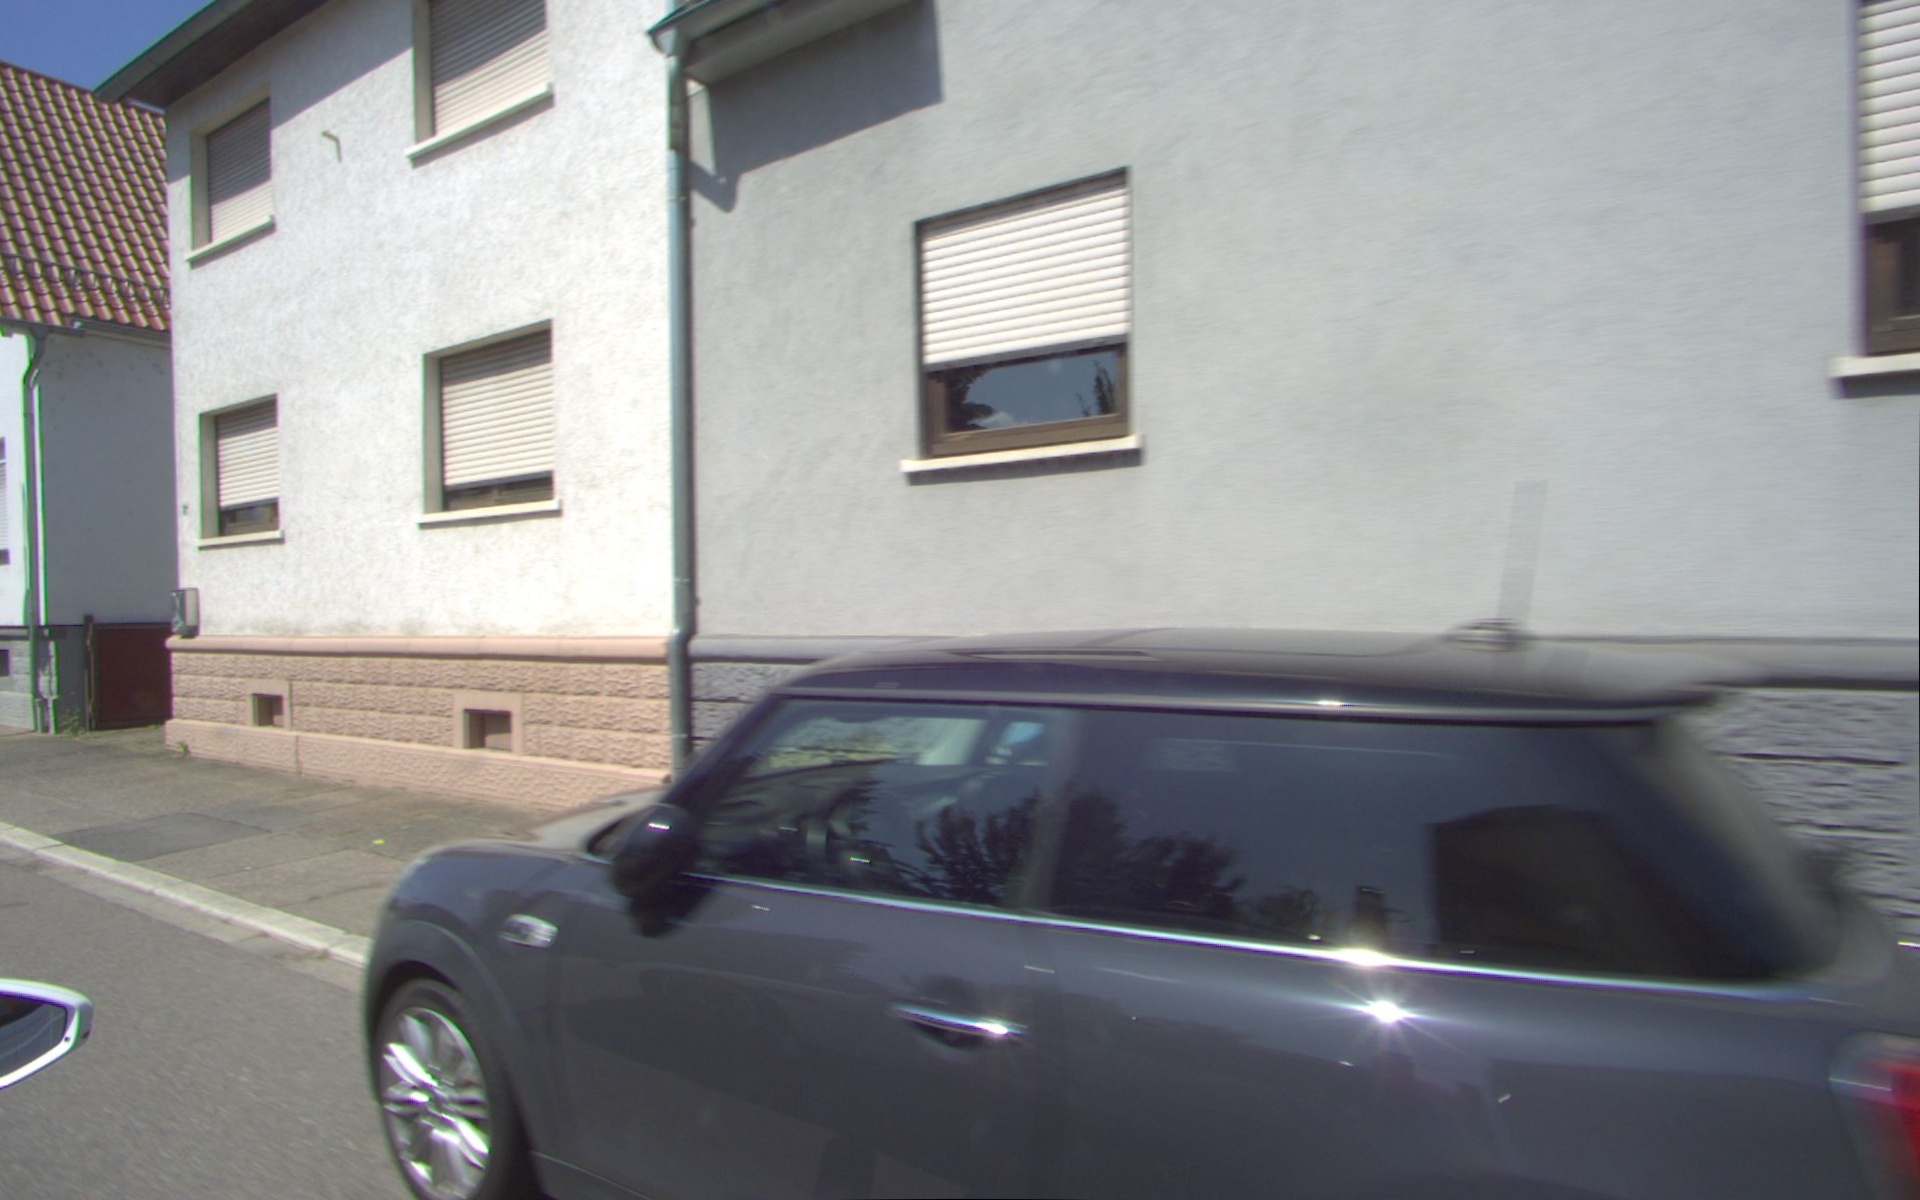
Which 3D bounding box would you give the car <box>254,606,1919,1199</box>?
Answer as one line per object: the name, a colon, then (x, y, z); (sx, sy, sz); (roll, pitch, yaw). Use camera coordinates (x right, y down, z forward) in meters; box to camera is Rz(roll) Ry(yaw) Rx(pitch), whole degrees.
car: (-0.057, 0.759, 2.613); (3.605, 1.441, 1.685); (-1, 0, 33)
